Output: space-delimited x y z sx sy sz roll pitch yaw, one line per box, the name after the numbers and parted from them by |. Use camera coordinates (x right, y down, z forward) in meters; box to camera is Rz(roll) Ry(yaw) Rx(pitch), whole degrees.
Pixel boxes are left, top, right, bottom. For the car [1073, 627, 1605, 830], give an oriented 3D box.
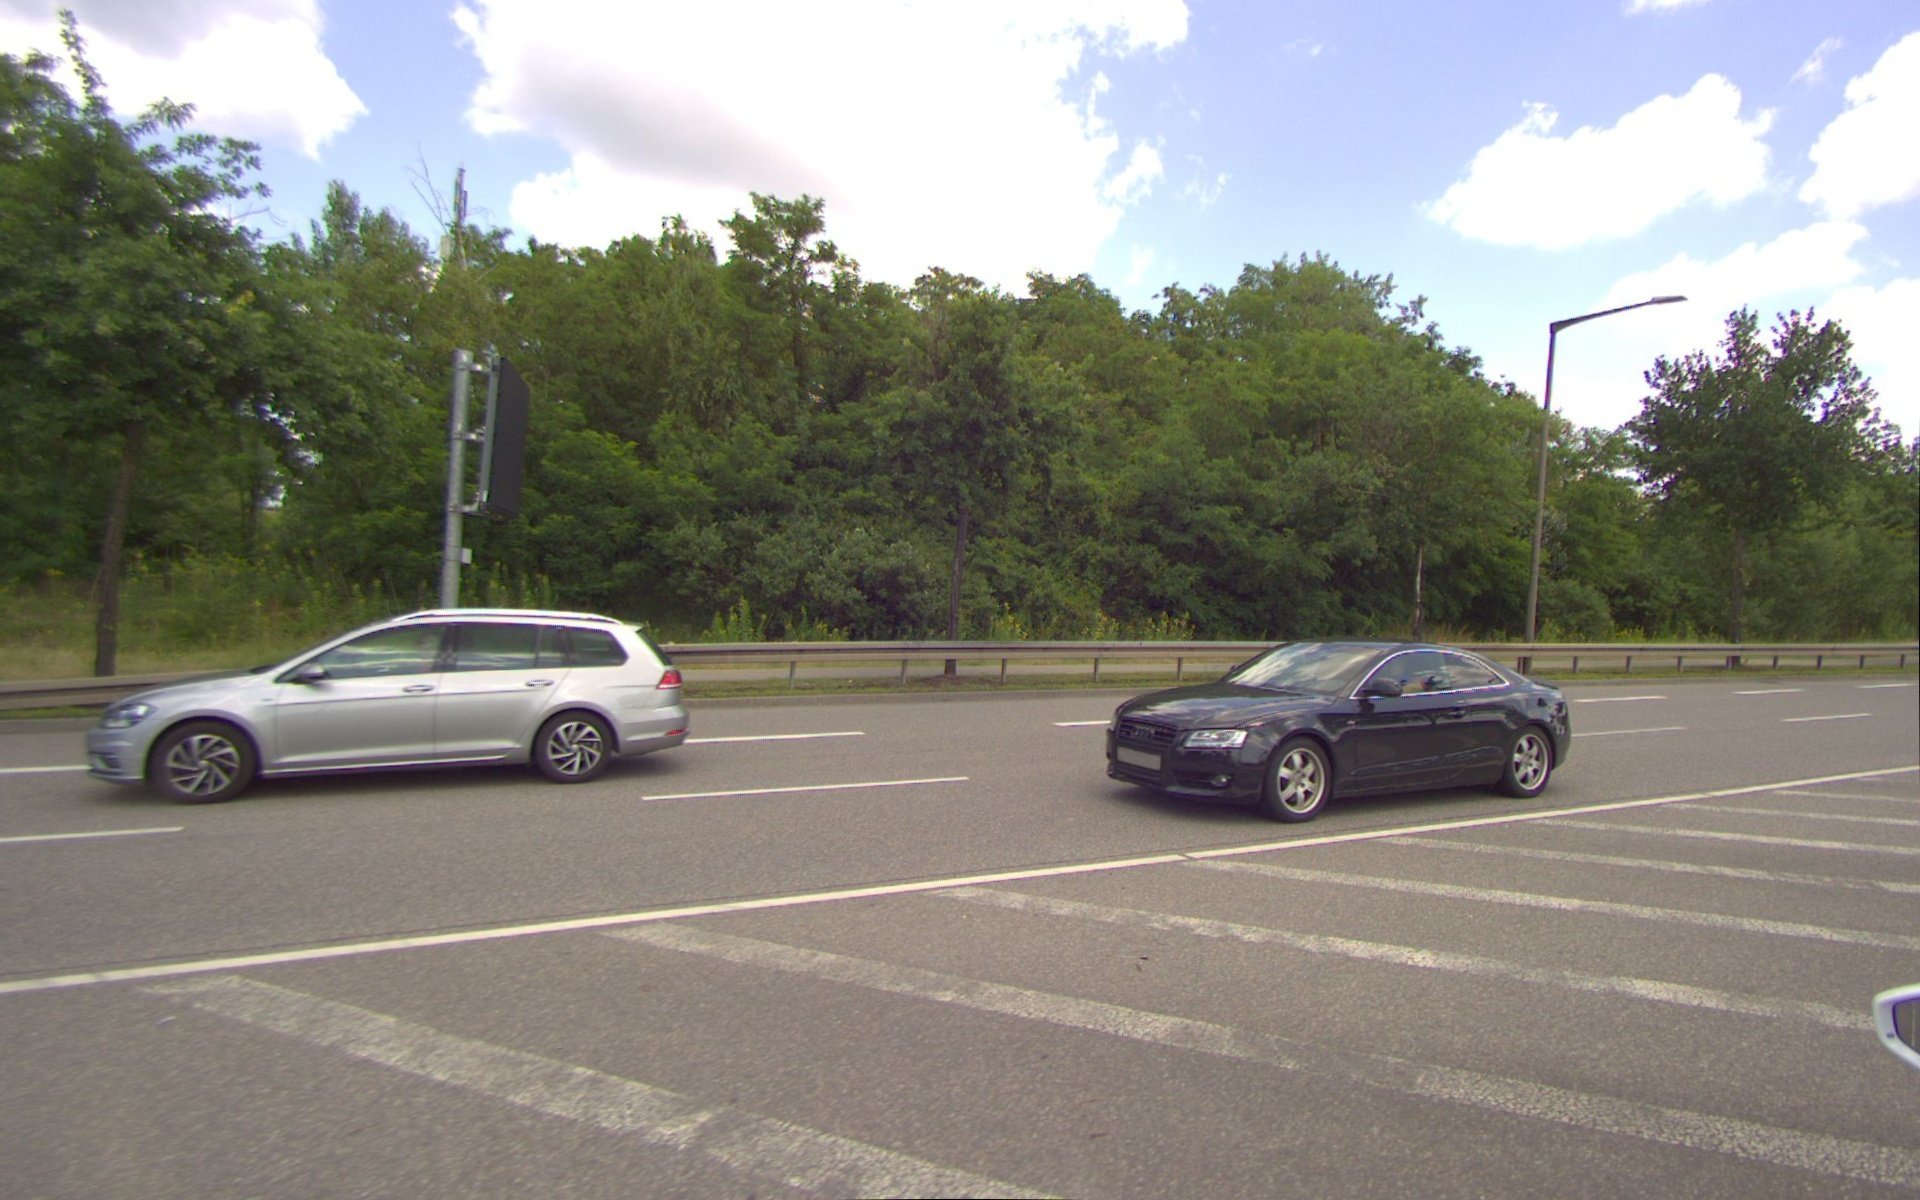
3.410 0.992 8.859 4.518 1.381 1.896 2 -2 -28 | car

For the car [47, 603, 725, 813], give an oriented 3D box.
-4.601 0.785 8.816 4.637 1.415 1.987 1 0 -26 | car
